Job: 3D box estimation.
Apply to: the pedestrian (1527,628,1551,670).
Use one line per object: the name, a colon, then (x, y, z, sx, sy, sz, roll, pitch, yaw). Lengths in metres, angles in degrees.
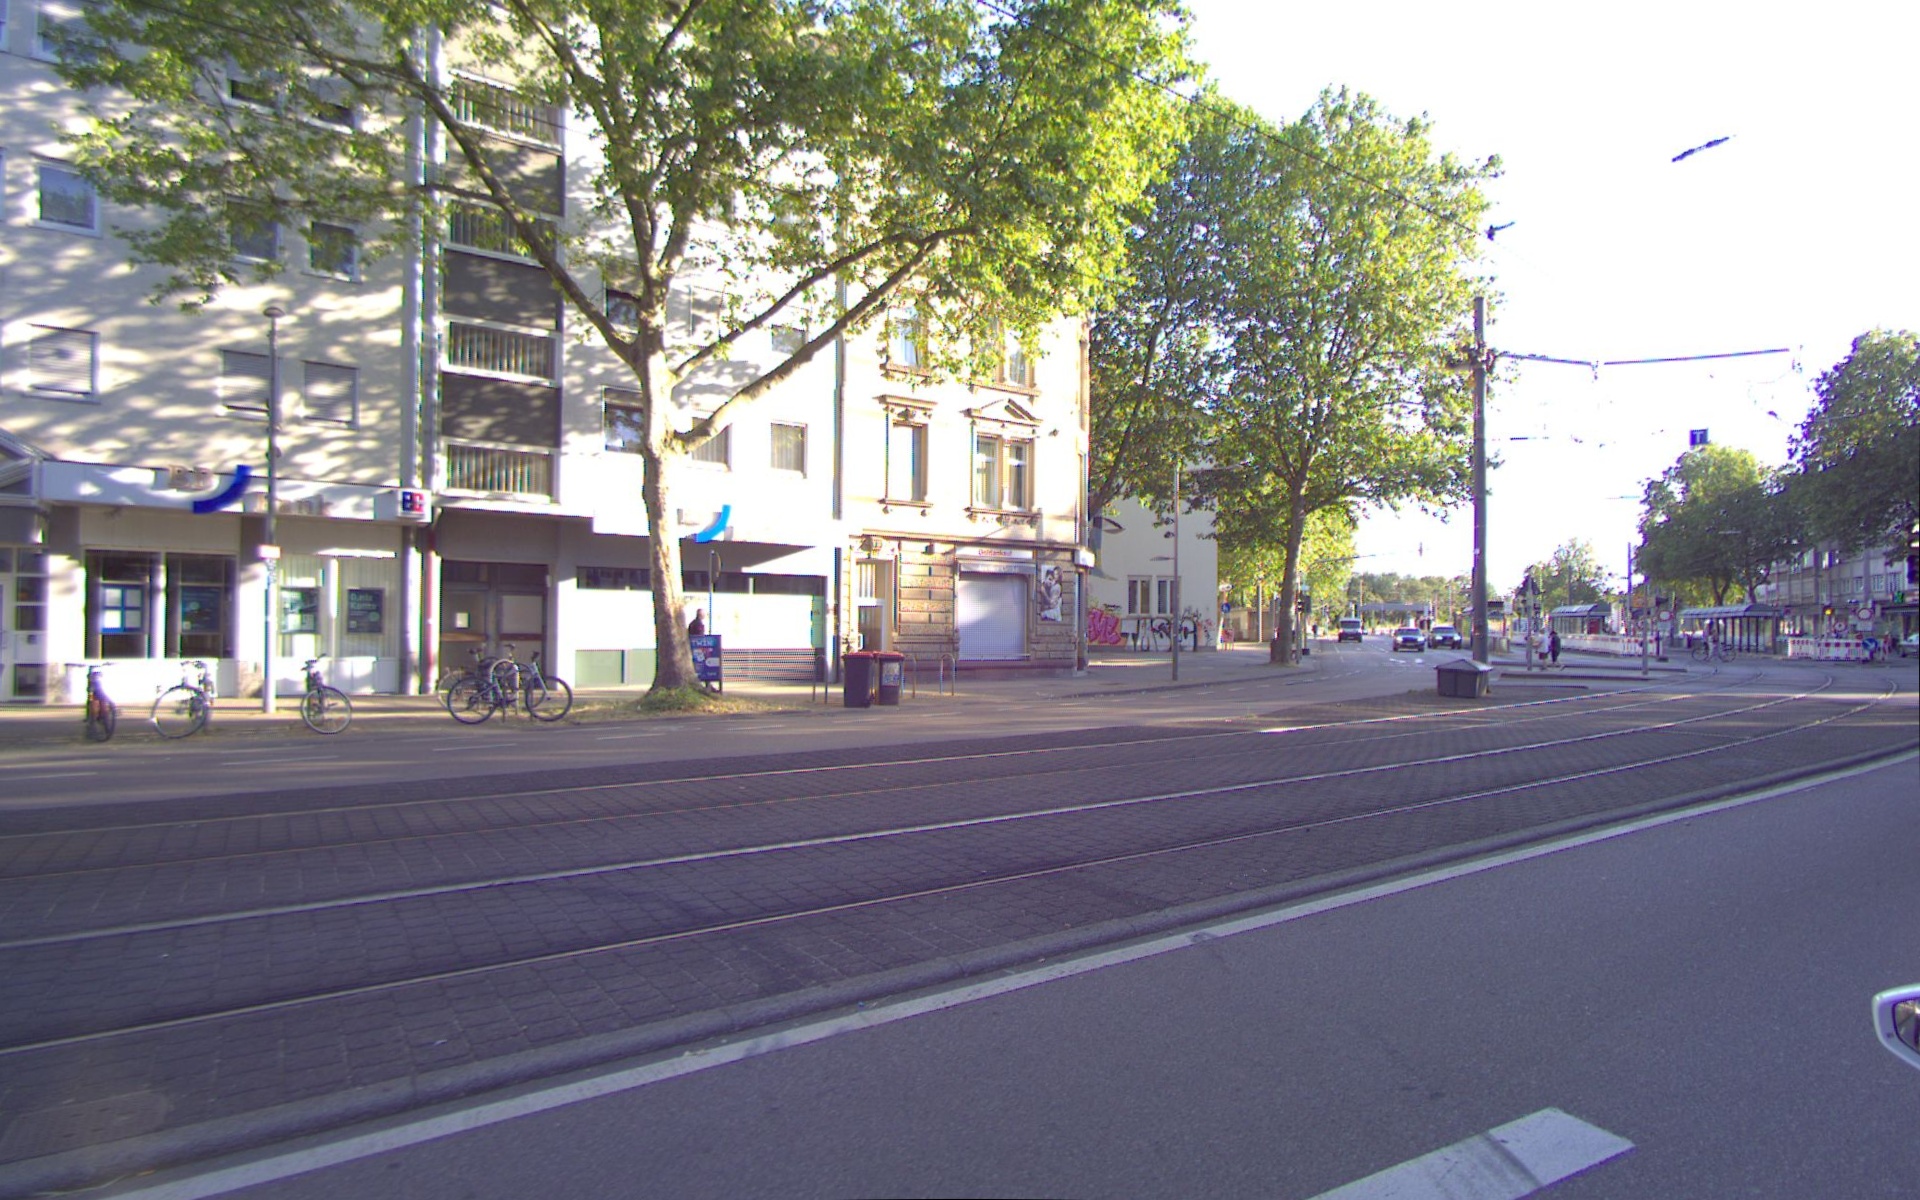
pedestrian: (21.373, 1.803, 37.080, 0.583, 1.524, 0.520, 1, -1, -13)

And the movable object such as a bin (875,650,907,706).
movable object such as a bin: (-1.390, 1.575, 20.284, 0.562, 1.108, 0.477, 0, -1, 6)

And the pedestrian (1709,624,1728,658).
pedestrian: (39.341, 2.133, 52.106, 0.708, 1.748, 0.399, 0, -1, 20)

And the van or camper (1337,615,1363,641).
van or camper: (36.738, 2.626, 94.603, 2.132, 2.349, 5.103, -2, -2, 21)

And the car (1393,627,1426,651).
car: (28.769, 2.466, 64.302, 1.856, 1.492, 4.204, 0, -1, 24)

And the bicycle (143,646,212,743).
bicycle: (-10.554, 1.235, 13.590, 0.646, 1.139, 1.880, 1, -1, -36)

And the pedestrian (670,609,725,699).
pedestrian: (-5.486, 1.110, 20.988, 0.959, 1.811, 0.615, 1, 1, -30)

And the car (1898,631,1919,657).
car: (60.641, 2.738, 62.873, 1.636, 1.488, 3.411, -3, -2, 23)

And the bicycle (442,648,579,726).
bicycle: (-7.010, 1.334, 15.706, 1.891, 1.139, 0.505, 1, -1, -33)

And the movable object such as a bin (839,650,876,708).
movable object such as a bin: (-2.005, 1.539, 19.673, 0.634, 1.108, 0.546, 0, -1, 6)

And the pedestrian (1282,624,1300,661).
pedestrian: (15.673, 2.020, 47.548, 0.663, 1.733, 0.431, 2, 0, 2)

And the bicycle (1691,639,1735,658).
bicycle: (39.407, 2.555, 52.579, 1.810, 0.955, 0.463, 0, -1, 21)

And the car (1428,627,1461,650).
car: (34.835, 2.749, 72.297, 1.855, 1.606, 4.206, 0, -1, 22)

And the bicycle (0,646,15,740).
bicycle: (-12.193, 1.176, 12.380, 0.529, 1.139, 1.880, 1, -1, -36)

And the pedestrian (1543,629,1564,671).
pedestrian: (21.982, 1.842, 37.212, 0.508, 1.524, 0.408, 1, -1, -14)

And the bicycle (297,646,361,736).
bicycle: (-9.188, 1.279, 14.601, 0.646, 1.139, 1.880, 1, -1, -36)

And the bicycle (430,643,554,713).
bicycle: (-8.145, 1.332, 17.510, 1.891, 1.139, 0.505, 1, -1, -33)

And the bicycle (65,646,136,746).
bicycle: (-11.195, 1.211, 13.121, 0.529, 1.139, 1.880, 1, -1, -36)
